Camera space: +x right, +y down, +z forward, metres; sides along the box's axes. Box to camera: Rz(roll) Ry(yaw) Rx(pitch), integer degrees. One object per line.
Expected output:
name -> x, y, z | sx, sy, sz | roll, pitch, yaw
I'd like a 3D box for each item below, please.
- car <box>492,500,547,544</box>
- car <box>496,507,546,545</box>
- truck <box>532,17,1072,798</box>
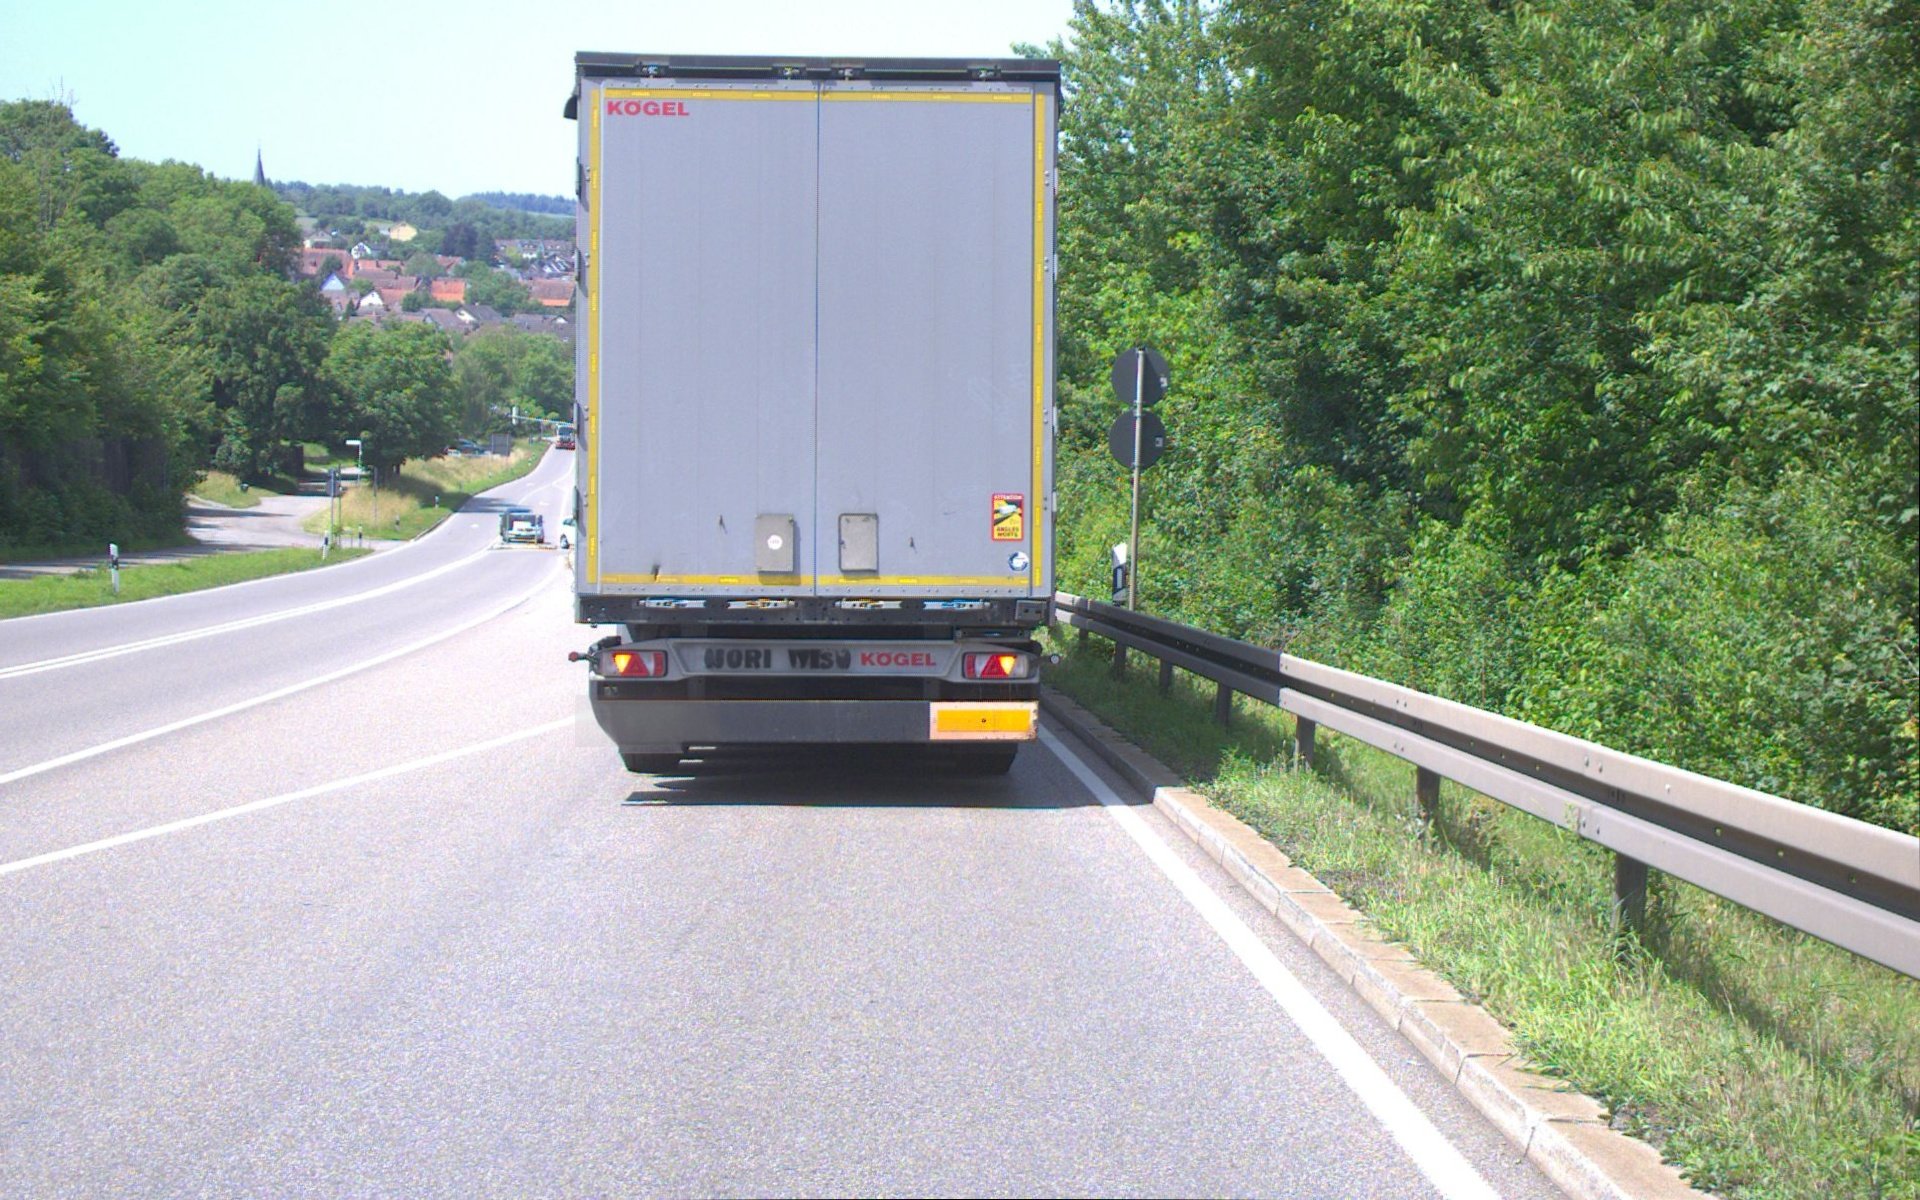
car -> -19.682, -3.466, 153.552 | 1.763, 1.919, 3.749 | 1, 1, -17
car -> -21.197, -3.554, 165.905 | 1.805, 1.788, 3.843 | 1, 1, -16
truck -> -0.924, -1.134, 23.804 | 2.757, 4.016, 11.925 | 1, 1, -1
